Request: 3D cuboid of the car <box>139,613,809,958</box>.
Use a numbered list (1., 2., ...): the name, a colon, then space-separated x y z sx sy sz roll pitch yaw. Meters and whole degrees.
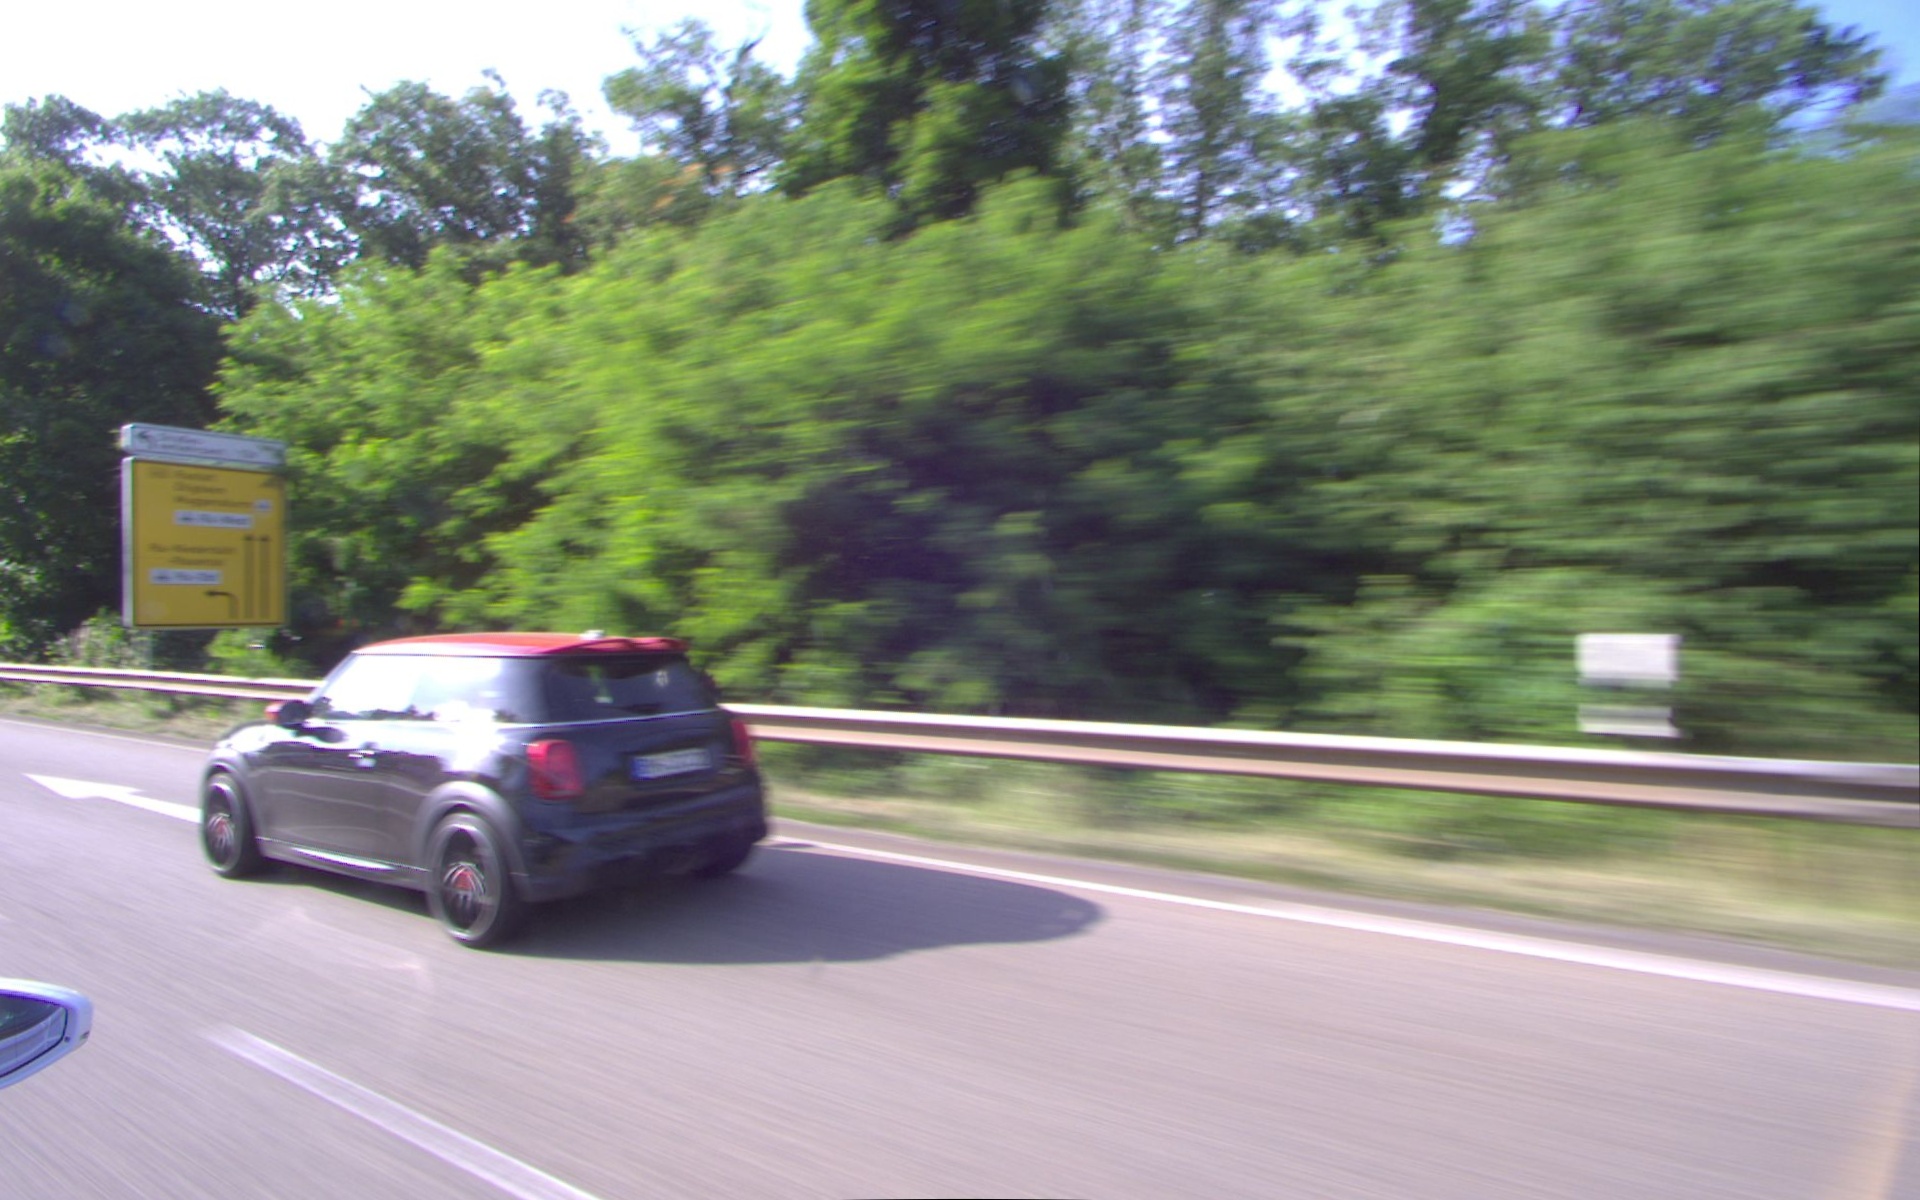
1. car: -3.003 0.856 6.097 3.814 1.486 1.819 0 -2 30
